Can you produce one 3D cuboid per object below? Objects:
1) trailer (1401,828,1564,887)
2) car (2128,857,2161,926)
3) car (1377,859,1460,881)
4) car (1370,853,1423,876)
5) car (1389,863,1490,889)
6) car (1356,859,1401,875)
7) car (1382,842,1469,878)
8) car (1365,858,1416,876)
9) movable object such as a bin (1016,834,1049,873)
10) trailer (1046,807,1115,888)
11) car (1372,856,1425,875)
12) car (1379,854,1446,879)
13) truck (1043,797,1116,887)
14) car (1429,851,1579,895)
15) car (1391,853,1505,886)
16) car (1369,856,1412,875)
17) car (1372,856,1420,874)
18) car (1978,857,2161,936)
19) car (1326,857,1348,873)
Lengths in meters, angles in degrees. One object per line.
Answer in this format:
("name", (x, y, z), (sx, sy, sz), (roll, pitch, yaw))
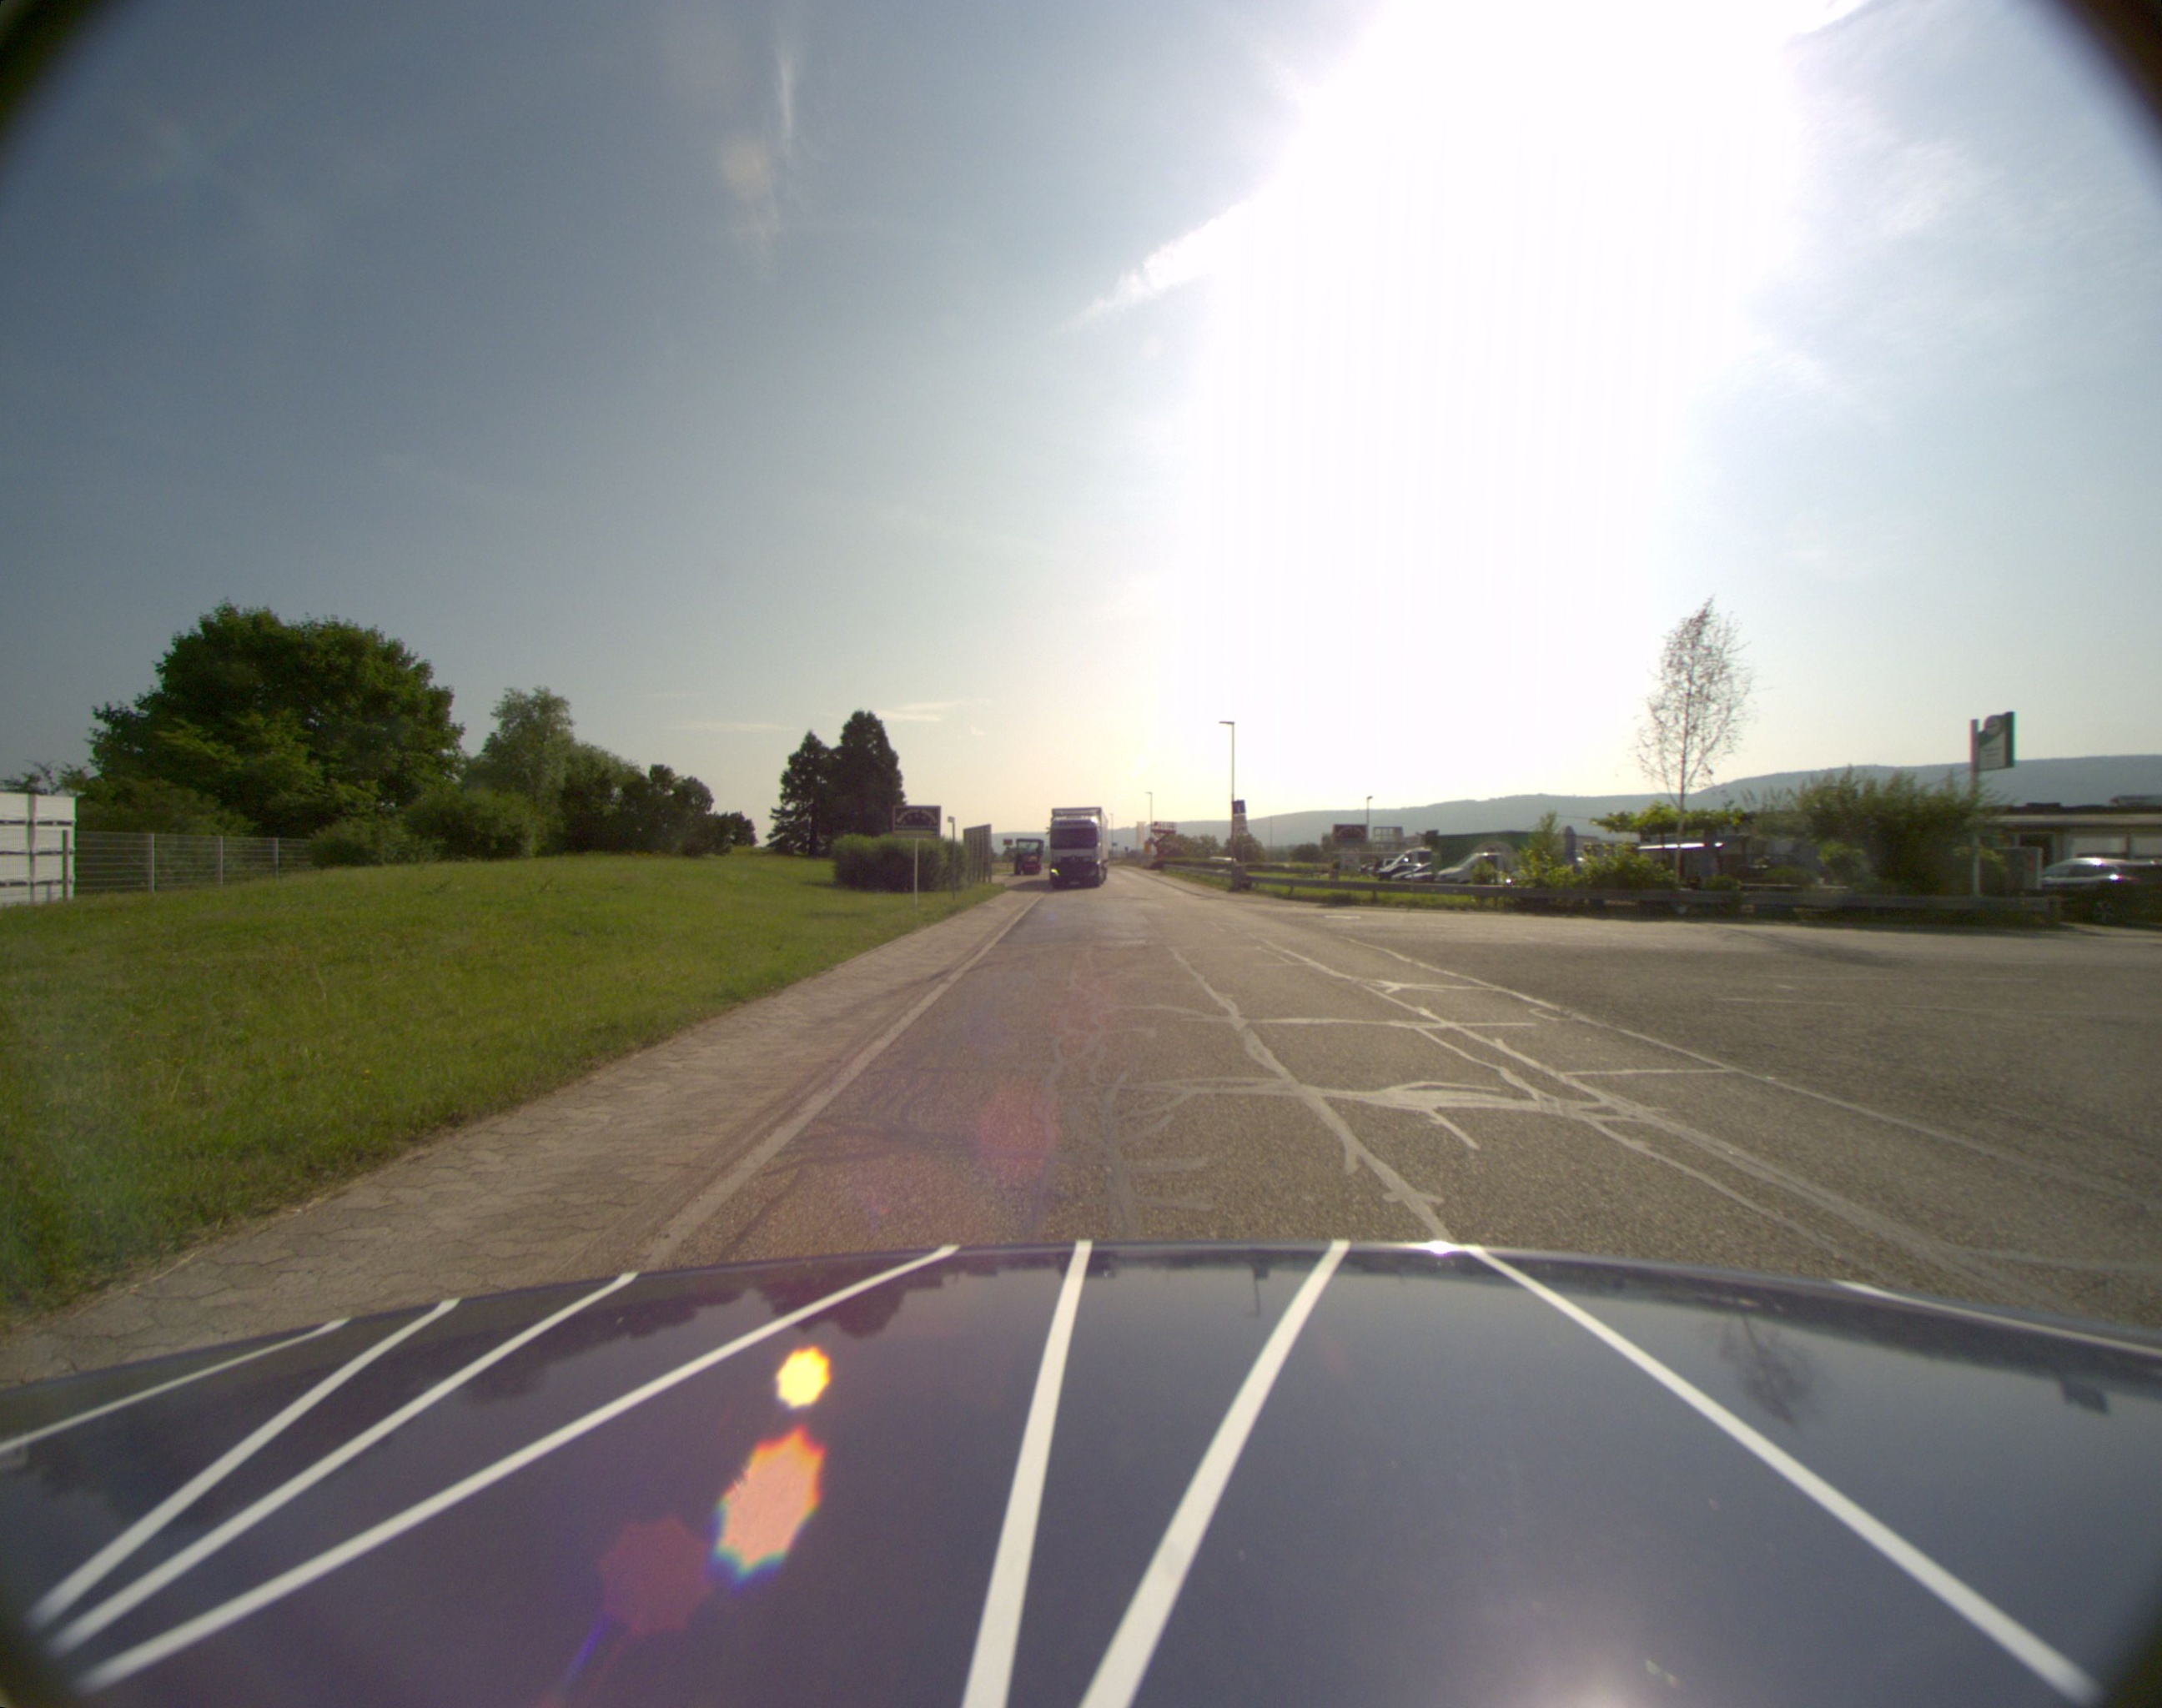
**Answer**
("trailer", (18.976, 0.134, 36.340), (6.315, 2.589, 2.857), (1, 1, 14))
("car", (28.456, 0.980, 18.076), (1.996, 1.761, 4.004), (1, 0, 13))
("car", (21.510, 1.009, 48.573), (4.686, 1.212, 1.834), (1, -1, 19))
("car", (25.450, 0.801, 61.387), (3.750, 1.741, 1.751), (1, 0, 14))
("car", (20.049, 1.229, 42.720), (4.956, 1.309, 1.782), (1, -1, 19))
("car", (31.413, 1.356, 80.210), (4.149, 1.527, 1.885), (1, 0, 13))
("car", (24.131, 0.440, 53.458), (5.394, 2.358, 2.298), (1, -1, 19))
("car", (25.970, 1.108, 63.853), (3.750, 1.381, 1.731), (1, 0, 14))
("movable object such as a bin", (-4.130, -0.052, 63.512), (2.436, 2.994, 5.750), (1, 0, -7))
("trailer", (0.133, -0.451, 47.138), (3.497, 4.183, 14.232), (-2, 1, 1))
("car", (27.412, 0.985, 65.712), (3.993, 1.512, 1.686), (1, 0, 12))
("car", (24.394, 0.910, 56.046), (4.393, 1.653, 1.809), (1, -1, 19))
("truck", (-0.038, -0.612, 39.513), (3.395, 4.183, 6.097), (-2, 1, 1))
("car", (18.176, 0.781, 32.909), (5.272, 1.696, 2.001), (1, 0, 7))
("car", (18.943, 0.811, 39.508), (5.131, 1.525, 2.181), (1, -1, 19))
("car", (31.494, 1.152, 77.347), (3.767, 1.785, 1.934), (-2, 1, 13))
("car", (28.136, 0.984, 67.989), (3.681, 1.512, 1.686), (1, 0, 12))
("car", (25.483, 0.966, 18.955), (1.996, 1.761, 4.004), (1, 0, 13))
("car", (33.651, 1.373, 99.878), (1.997, 2.002, 4.160), (1, 0, 9))
